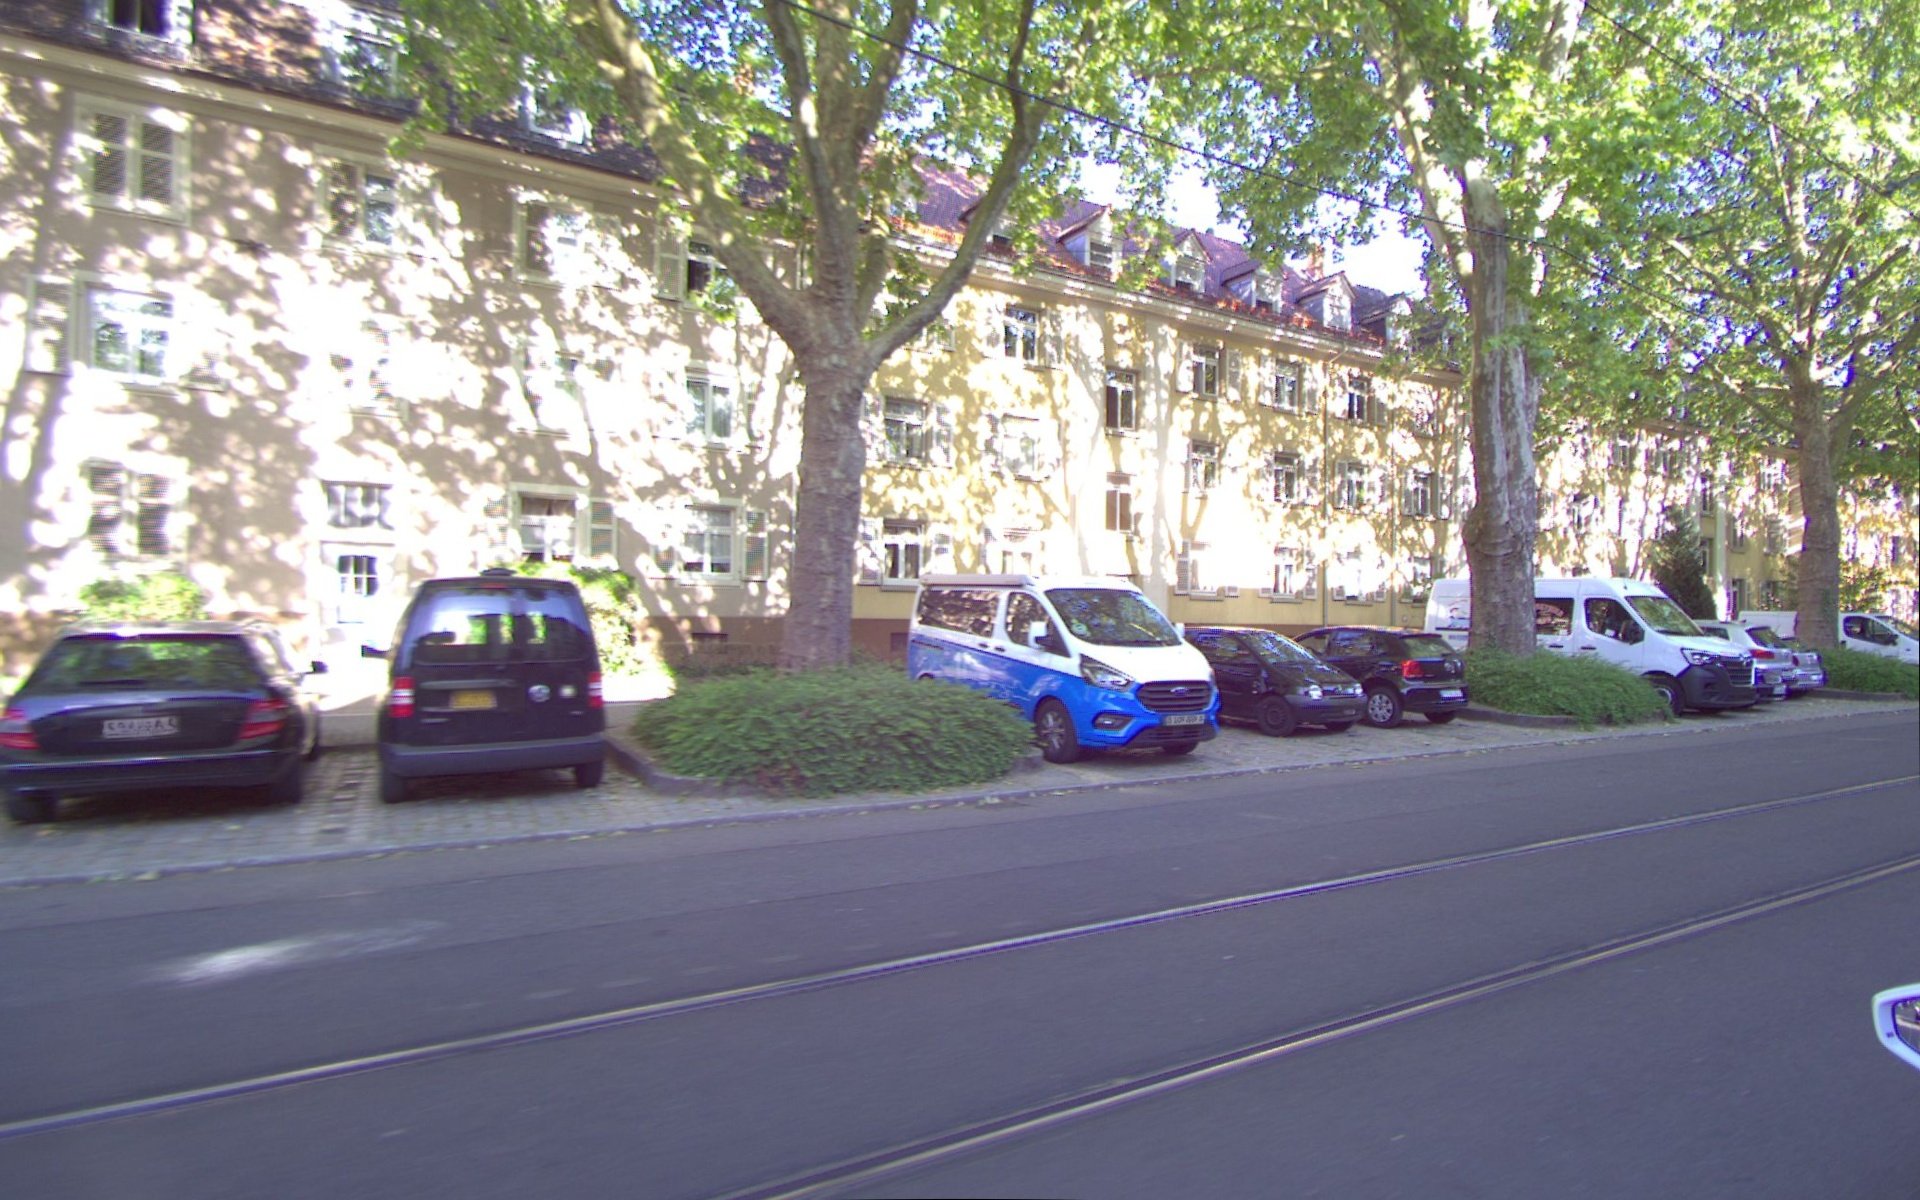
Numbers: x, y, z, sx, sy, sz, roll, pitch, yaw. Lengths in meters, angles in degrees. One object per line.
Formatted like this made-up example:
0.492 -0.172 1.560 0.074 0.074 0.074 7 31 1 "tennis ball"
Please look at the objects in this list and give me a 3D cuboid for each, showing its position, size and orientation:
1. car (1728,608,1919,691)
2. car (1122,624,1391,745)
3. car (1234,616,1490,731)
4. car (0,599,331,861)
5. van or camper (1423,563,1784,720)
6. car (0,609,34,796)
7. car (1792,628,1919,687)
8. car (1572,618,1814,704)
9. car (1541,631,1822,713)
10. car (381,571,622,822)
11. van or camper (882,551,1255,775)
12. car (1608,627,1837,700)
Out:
23.036 1.213 26.015 1.940 1.971 4.630 1 -1 -32 "car"
4.240 1.130 14.775 1.680 1.479 3.505 1 -1 -36 "car"
6.260 1.068 16.053 1.592 1.586 3.669 1 -1 -27 "car"
-6.352 0.834 8.320 1.781 1.646 3.658 1 -1 -34 "car"
12.054 0.712 19.305 2.415 2.549 5.366 1 -1 -29 "van or camper"
-8.239 0.817 7.353 1.686 1.505 3.656 1 -1 -36 "car"
25.446 1.537 27.414 1.840 1.517 3.831 1 -2 -29 "car"
15.681 1.248 21.692 1.840 1.685 3.831 1 -2 -29 "car"
14.167 1.339 20.007 1.732 1.417 4.246 1 -2 -29 "car"
-4.412 0.731 9.377 1.684 1.839 3.664 1 -1 -30 "car"
1.095 0.651 12.562 2.097 2.219 4.791 1 -1 -33 "van or camper"
17.472 1.398 23.202 1.840 1.517 3.831 1 -2 -29 "car"
